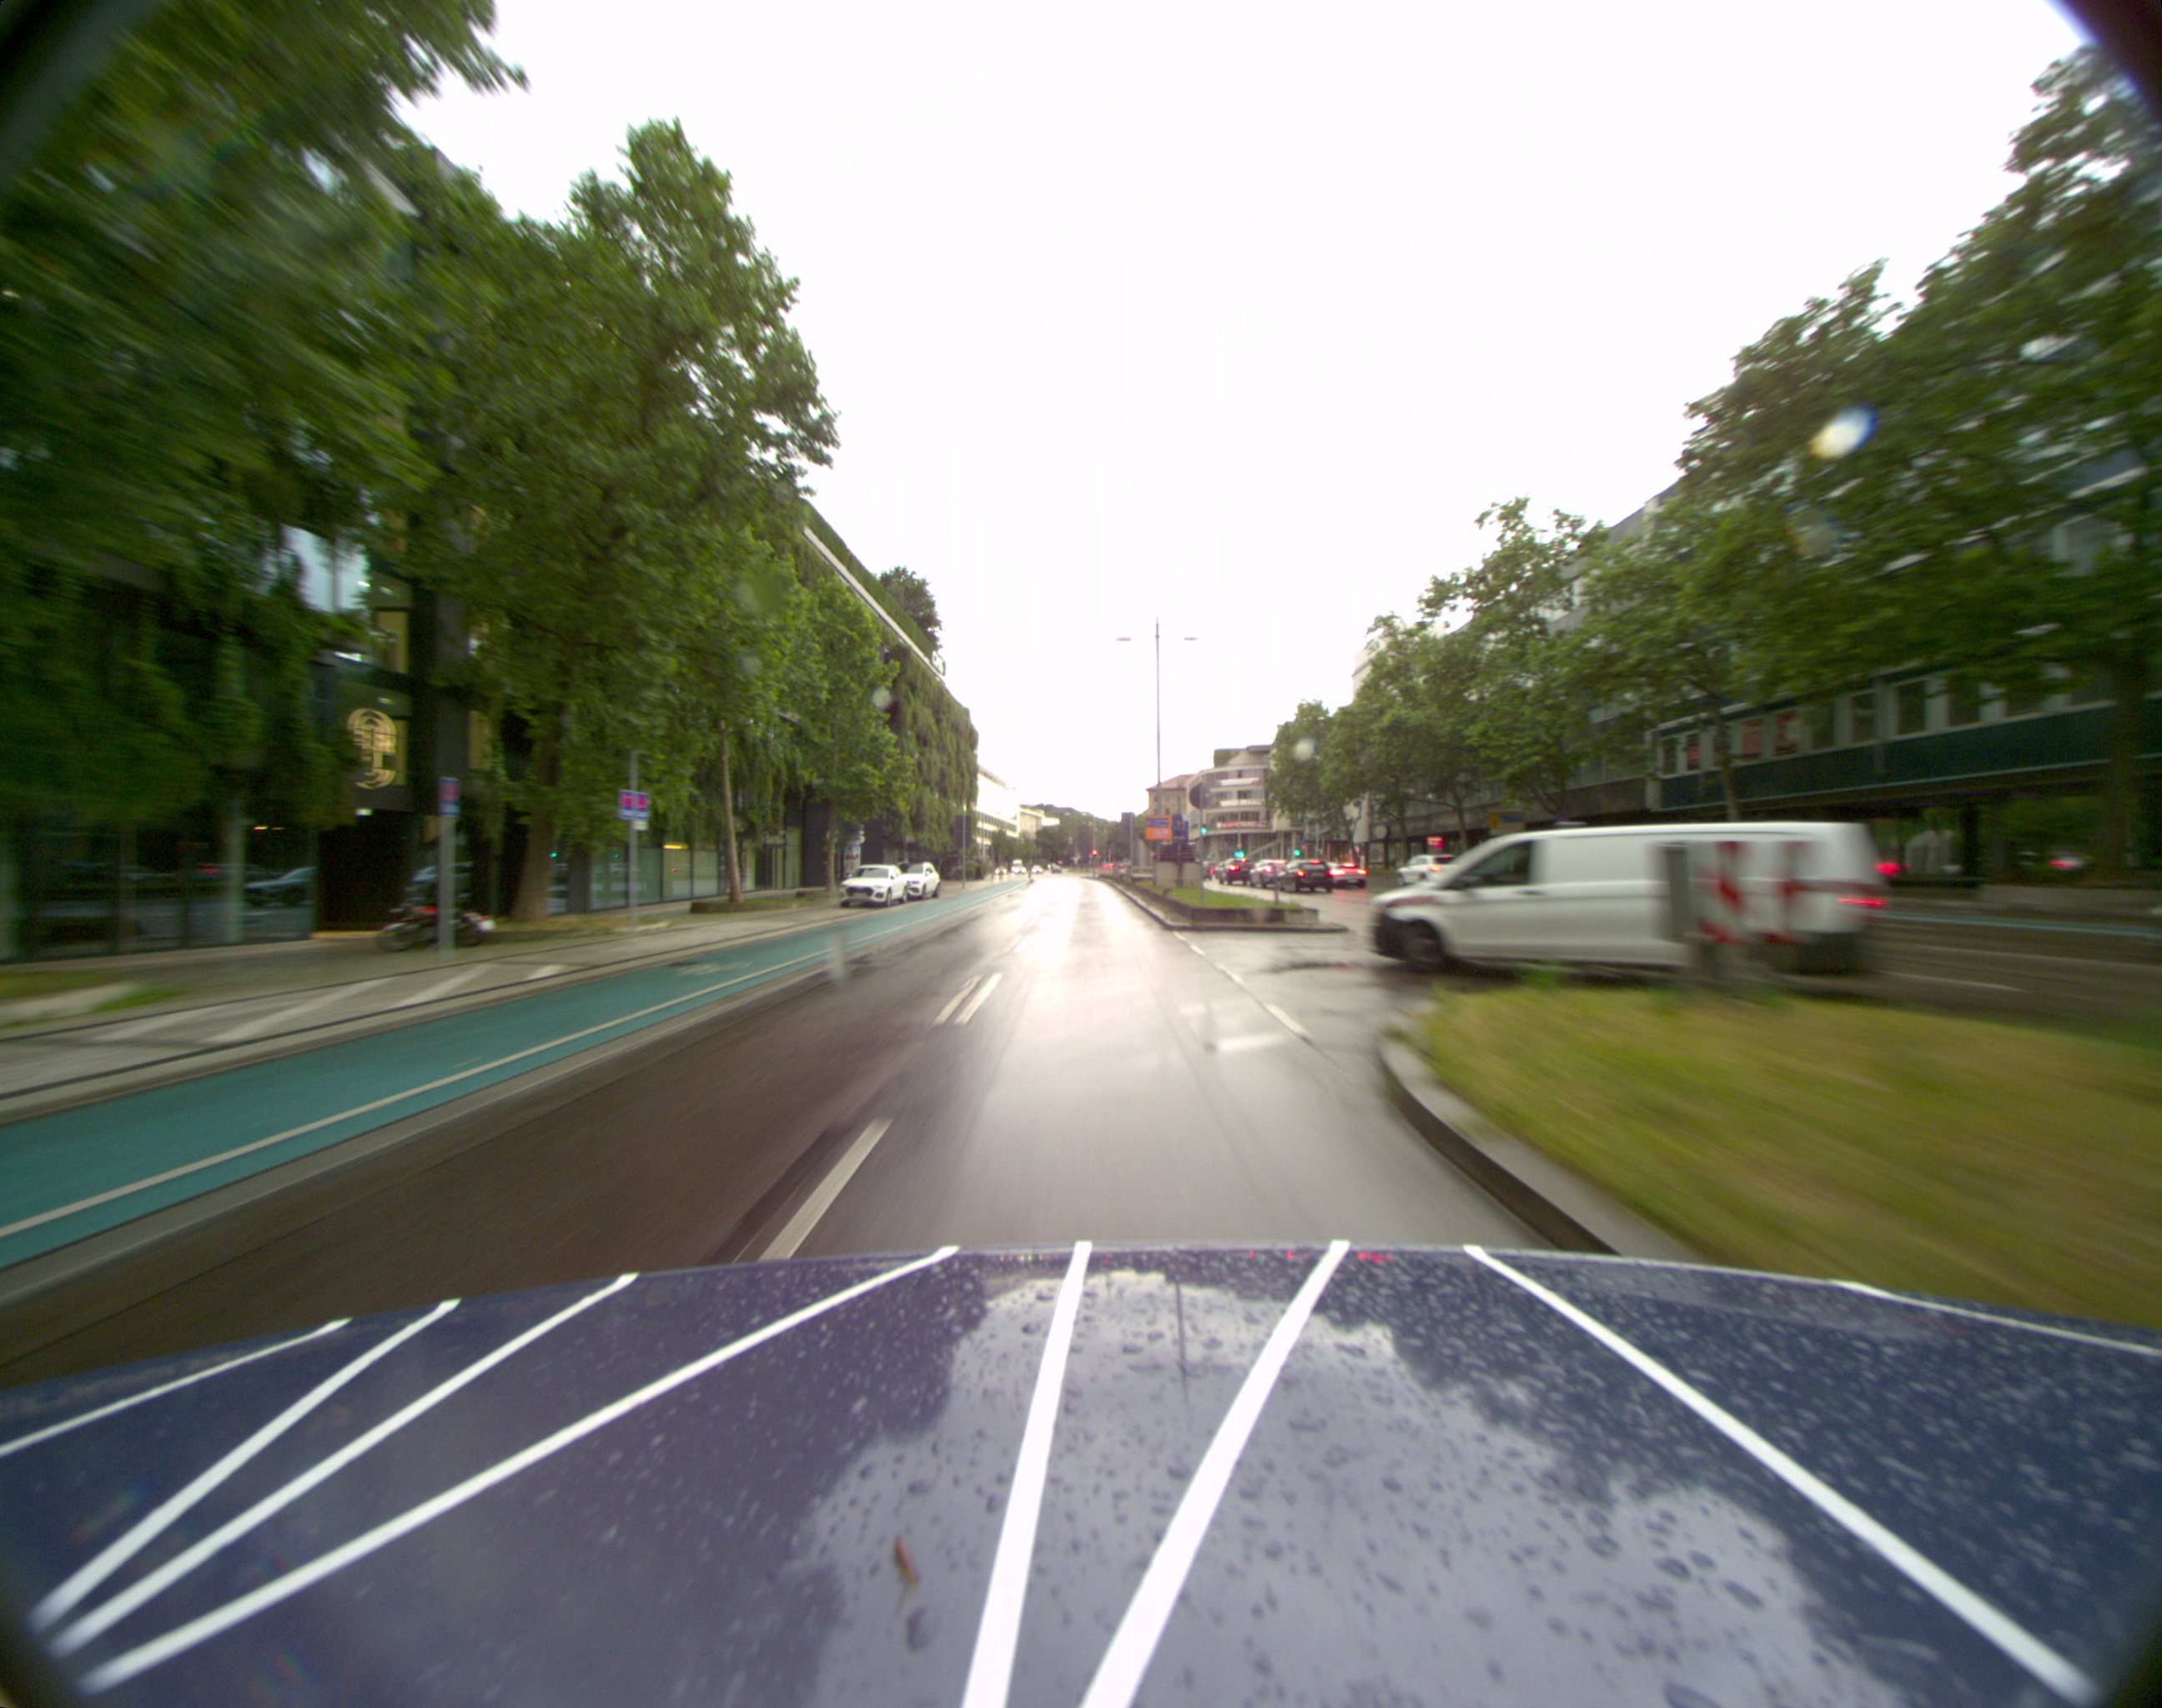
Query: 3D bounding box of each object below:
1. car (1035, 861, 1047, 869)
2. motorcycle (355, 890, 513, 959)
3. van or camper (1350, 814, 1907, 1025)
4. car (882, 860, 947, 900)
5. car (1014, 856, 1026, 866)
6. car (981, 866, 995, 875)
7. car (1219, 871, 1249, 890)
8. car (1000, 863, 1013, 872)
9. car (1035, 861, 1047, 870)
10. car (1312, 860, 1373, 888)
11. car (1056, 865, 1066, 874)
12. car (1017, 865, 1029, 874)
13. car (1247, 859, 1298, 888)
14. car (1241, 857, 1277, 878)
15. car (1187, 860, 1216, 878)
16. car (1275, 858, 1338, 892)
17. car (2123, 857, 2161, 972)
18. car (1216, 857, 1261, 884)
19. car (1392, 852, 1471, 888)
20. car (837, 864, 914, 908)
[{"bbox_3d":[-7.273,2.024,139.105,1.978,1.543,4.671,-1,0,1],"label":"car"},{"bbox_3d":[-13.269,1.422,15.641,2.313,1.262,1.053,-2,-1,0],"label":"motorcycle"},{"bbox_3d":[6.301,0.645,9.411,2.004,1.902,5.236,0,-1,-45],"label":"van or camper"},{"bbox_3d":[-8.030,1.216,37.069,1.848,1.827,5.095,1,-1,2],"label":"car"},{"bbox_3d":[-12.448,1.442,155.458,1.998,2.001,4.001,-1,-1,0],"label":"car"},{"bbox_3d":[-16.472,2.933,134.879,1.739,1.543,4.671,-1,0,1],"label":"car"},{"bbox_3d":[13.788,2.375,68.605,1.758,1.555,3.999,0,-1,-3],"label":"car"},{"bbox_3d":[-13.385,2.371,136.755,1.739,1.543,4.671,-1,0,1],"label":"car"},{"bbox_3d":[-7.033,2.101,134.098,1.739,1.543,4.671,-1,0,1],"label":"car"},{"bbox_3d":[14.015,1.062,41.024,1.971,1.400,4.959,-1,-1,5],"label":"car"},{"bbox_3d":[-3.637,2.826,137.076,1.739,1.543,4.670,-1,0,-1],"label":"car"},{"bbox_3d":[-10.521,2.787,138.855,1.739,1.543,4.671,-1,0,1],"label":"car"},{"bbox_3d":[10.991,1.097,43.942,1.739,1.564,4.832,-1,-1,1],"label":"car"},{"bbox_3d":[14.111,1.059,60.476,1.758,1.555,3.999,-1,0,-3],"label":"car"},{"bbox_3d":[10.703,1.326,67.687,1.848,1.442,4.917,-1,-1,0],"label":"car"},{"bbox_3d":[10.919,0.987,37.113,1.918,1.543,4.543,-1,-1,2],"label":"car"},{"bbox_3d":[14.743,0.761,8.043,1.754,1.467,4.095,0,0,-2],"label":"car"},{"bbox_3d":[10.659,1.105,51.757,1.840,1.756,5.109,-1,-1,-1],"label":"car"},{"bbox_3d":[17.237,0.787,37.599,1.765,1.605,4.548,-2,-1,0],"label":"car"},{"bbox_3d":[-8.308,1.256,31.149,1.848,1.622,4.787,-1,-1,0],"label":"car"}]
